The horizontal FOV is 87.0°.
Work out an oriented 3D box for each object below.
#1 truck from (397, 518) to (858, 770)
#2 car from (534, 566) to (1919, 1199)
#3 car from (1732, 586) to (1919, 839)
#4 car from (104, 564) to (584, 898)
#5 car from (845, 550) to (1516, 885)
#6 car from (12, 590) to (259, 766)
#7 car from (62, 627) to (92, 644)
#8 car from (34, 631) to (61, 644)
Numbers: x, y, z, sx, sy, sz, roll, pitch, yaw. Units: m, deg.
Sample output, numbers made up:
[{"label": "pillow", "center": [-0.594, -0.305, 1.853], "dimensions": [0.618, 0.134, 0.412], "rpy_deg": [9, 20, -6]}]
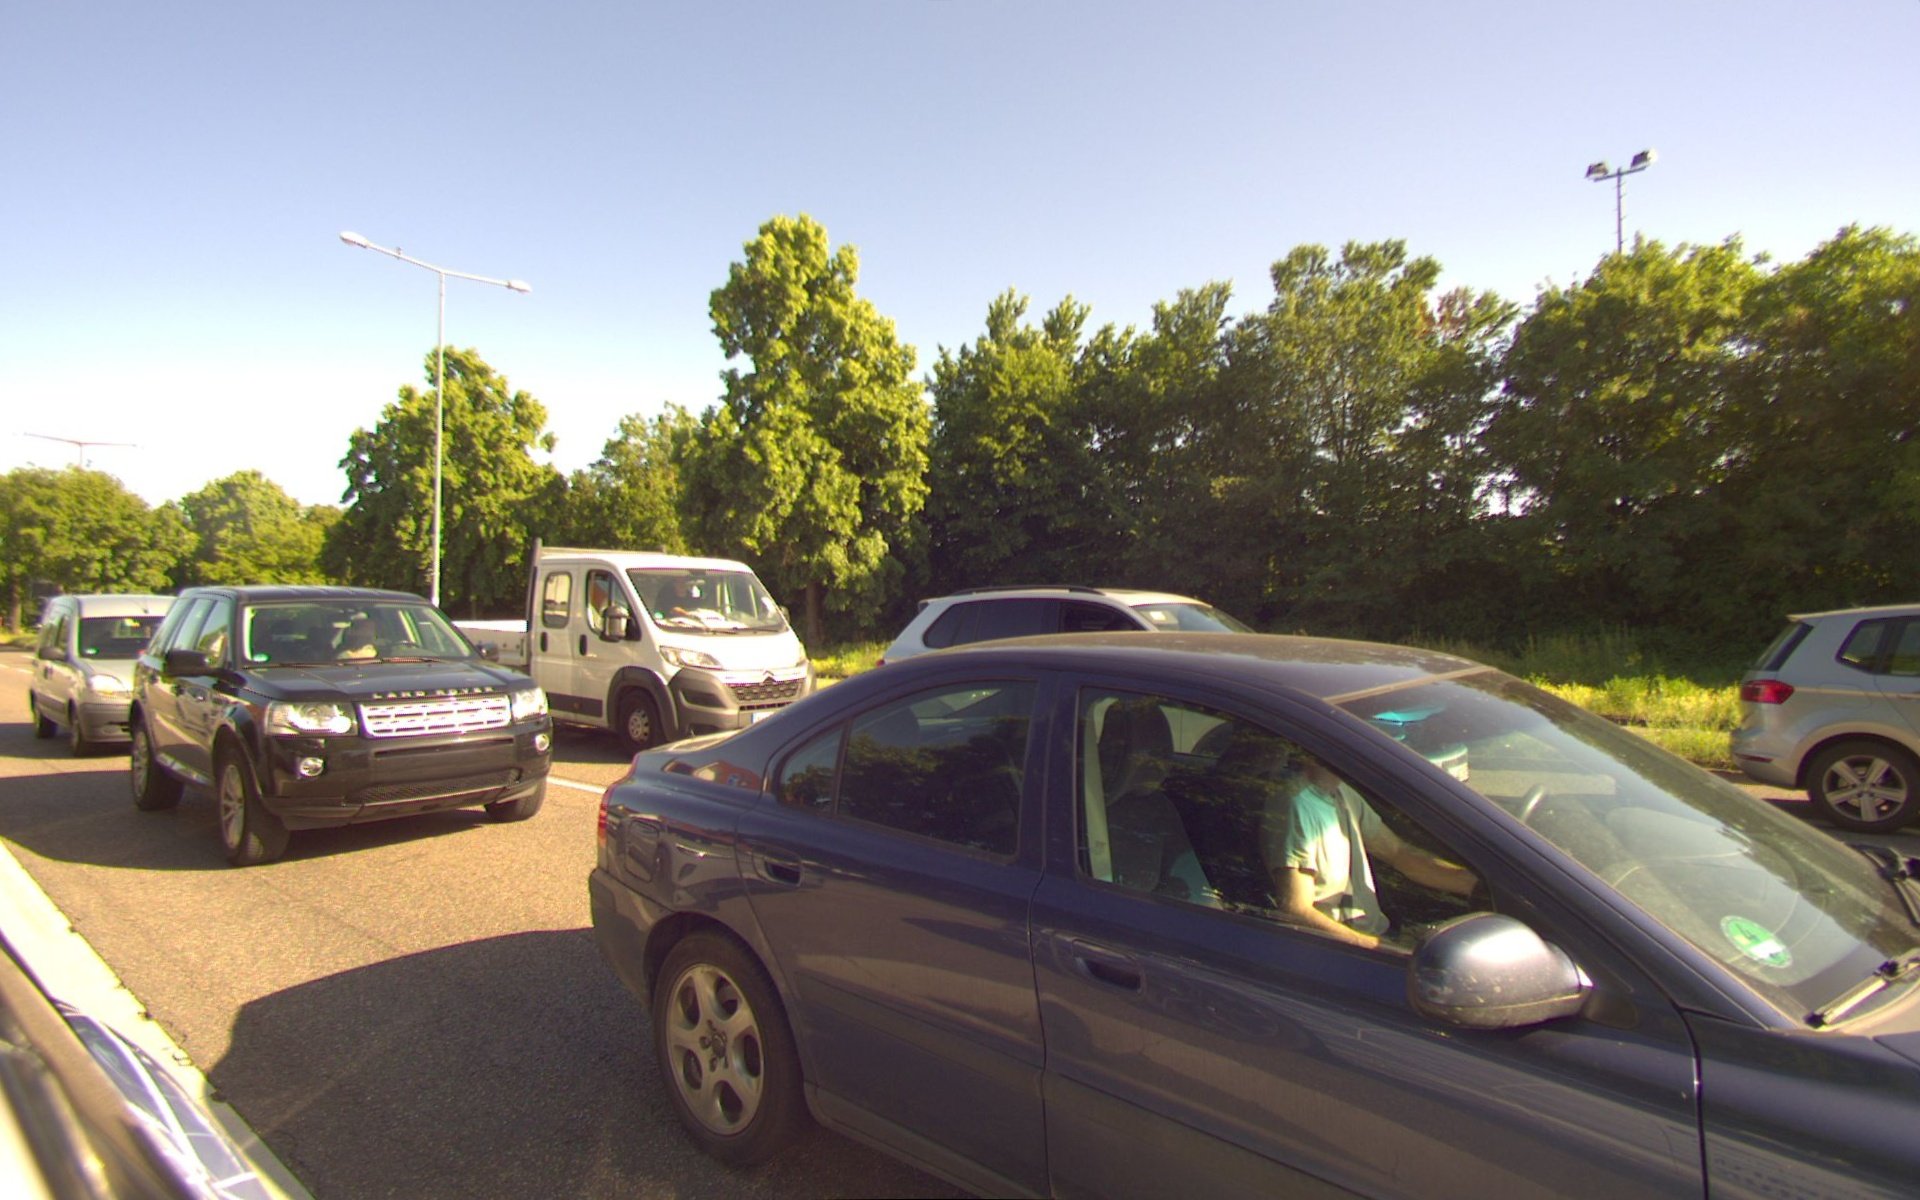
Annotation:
[{"label": "truck", "center": [-4.405, 0.444, 12.451], "dimensions": [6.838, 2.337, 2.158], "rpy_deg": [-1, -1, 40]}, {"label": "car", "center": [0.890, 0.696, 2.427], "dimensions": [4.454, 1.463, 1.757], "rpy_deg": [-1, 0, 41]}, {"label": "car", "center": [7.629, 0.724, 6.417], "dimensions": [4.206, 1.623, 1.811], "rpy_deg": [-2, -3, 42]}, {"label": "car", "center": [-4.697, 0.708, 7.422], "dimensions": [4.384, 1.744, 1.793], "rpy_deg": [-1, -1, 41]}, {"label": "car", "center": [1.378, 0.680, 7.432], "dimensions": [4.422, 1.723, 1.973], "rpy_deg": [-2, -3, 41]}, {"label": "car", "center": [-10.054, 0.803, 12.223], "dimensions": [4.384, 1.765, 1.611], "rpy_deg": [-1, -1, 41]}, {"label": "car", "center": [-88.706, 3.529, 101.653], "dimensions": [3.998, 1.697, 1.769], "rpy_deg": [-2, -3, 41]}, {"label": "car", "center": [-102.376, 4.253, 113.539], "dimensions": [3.998, 1.428, 1.769], "rpy_deg": [-2, -3, 41]}]
